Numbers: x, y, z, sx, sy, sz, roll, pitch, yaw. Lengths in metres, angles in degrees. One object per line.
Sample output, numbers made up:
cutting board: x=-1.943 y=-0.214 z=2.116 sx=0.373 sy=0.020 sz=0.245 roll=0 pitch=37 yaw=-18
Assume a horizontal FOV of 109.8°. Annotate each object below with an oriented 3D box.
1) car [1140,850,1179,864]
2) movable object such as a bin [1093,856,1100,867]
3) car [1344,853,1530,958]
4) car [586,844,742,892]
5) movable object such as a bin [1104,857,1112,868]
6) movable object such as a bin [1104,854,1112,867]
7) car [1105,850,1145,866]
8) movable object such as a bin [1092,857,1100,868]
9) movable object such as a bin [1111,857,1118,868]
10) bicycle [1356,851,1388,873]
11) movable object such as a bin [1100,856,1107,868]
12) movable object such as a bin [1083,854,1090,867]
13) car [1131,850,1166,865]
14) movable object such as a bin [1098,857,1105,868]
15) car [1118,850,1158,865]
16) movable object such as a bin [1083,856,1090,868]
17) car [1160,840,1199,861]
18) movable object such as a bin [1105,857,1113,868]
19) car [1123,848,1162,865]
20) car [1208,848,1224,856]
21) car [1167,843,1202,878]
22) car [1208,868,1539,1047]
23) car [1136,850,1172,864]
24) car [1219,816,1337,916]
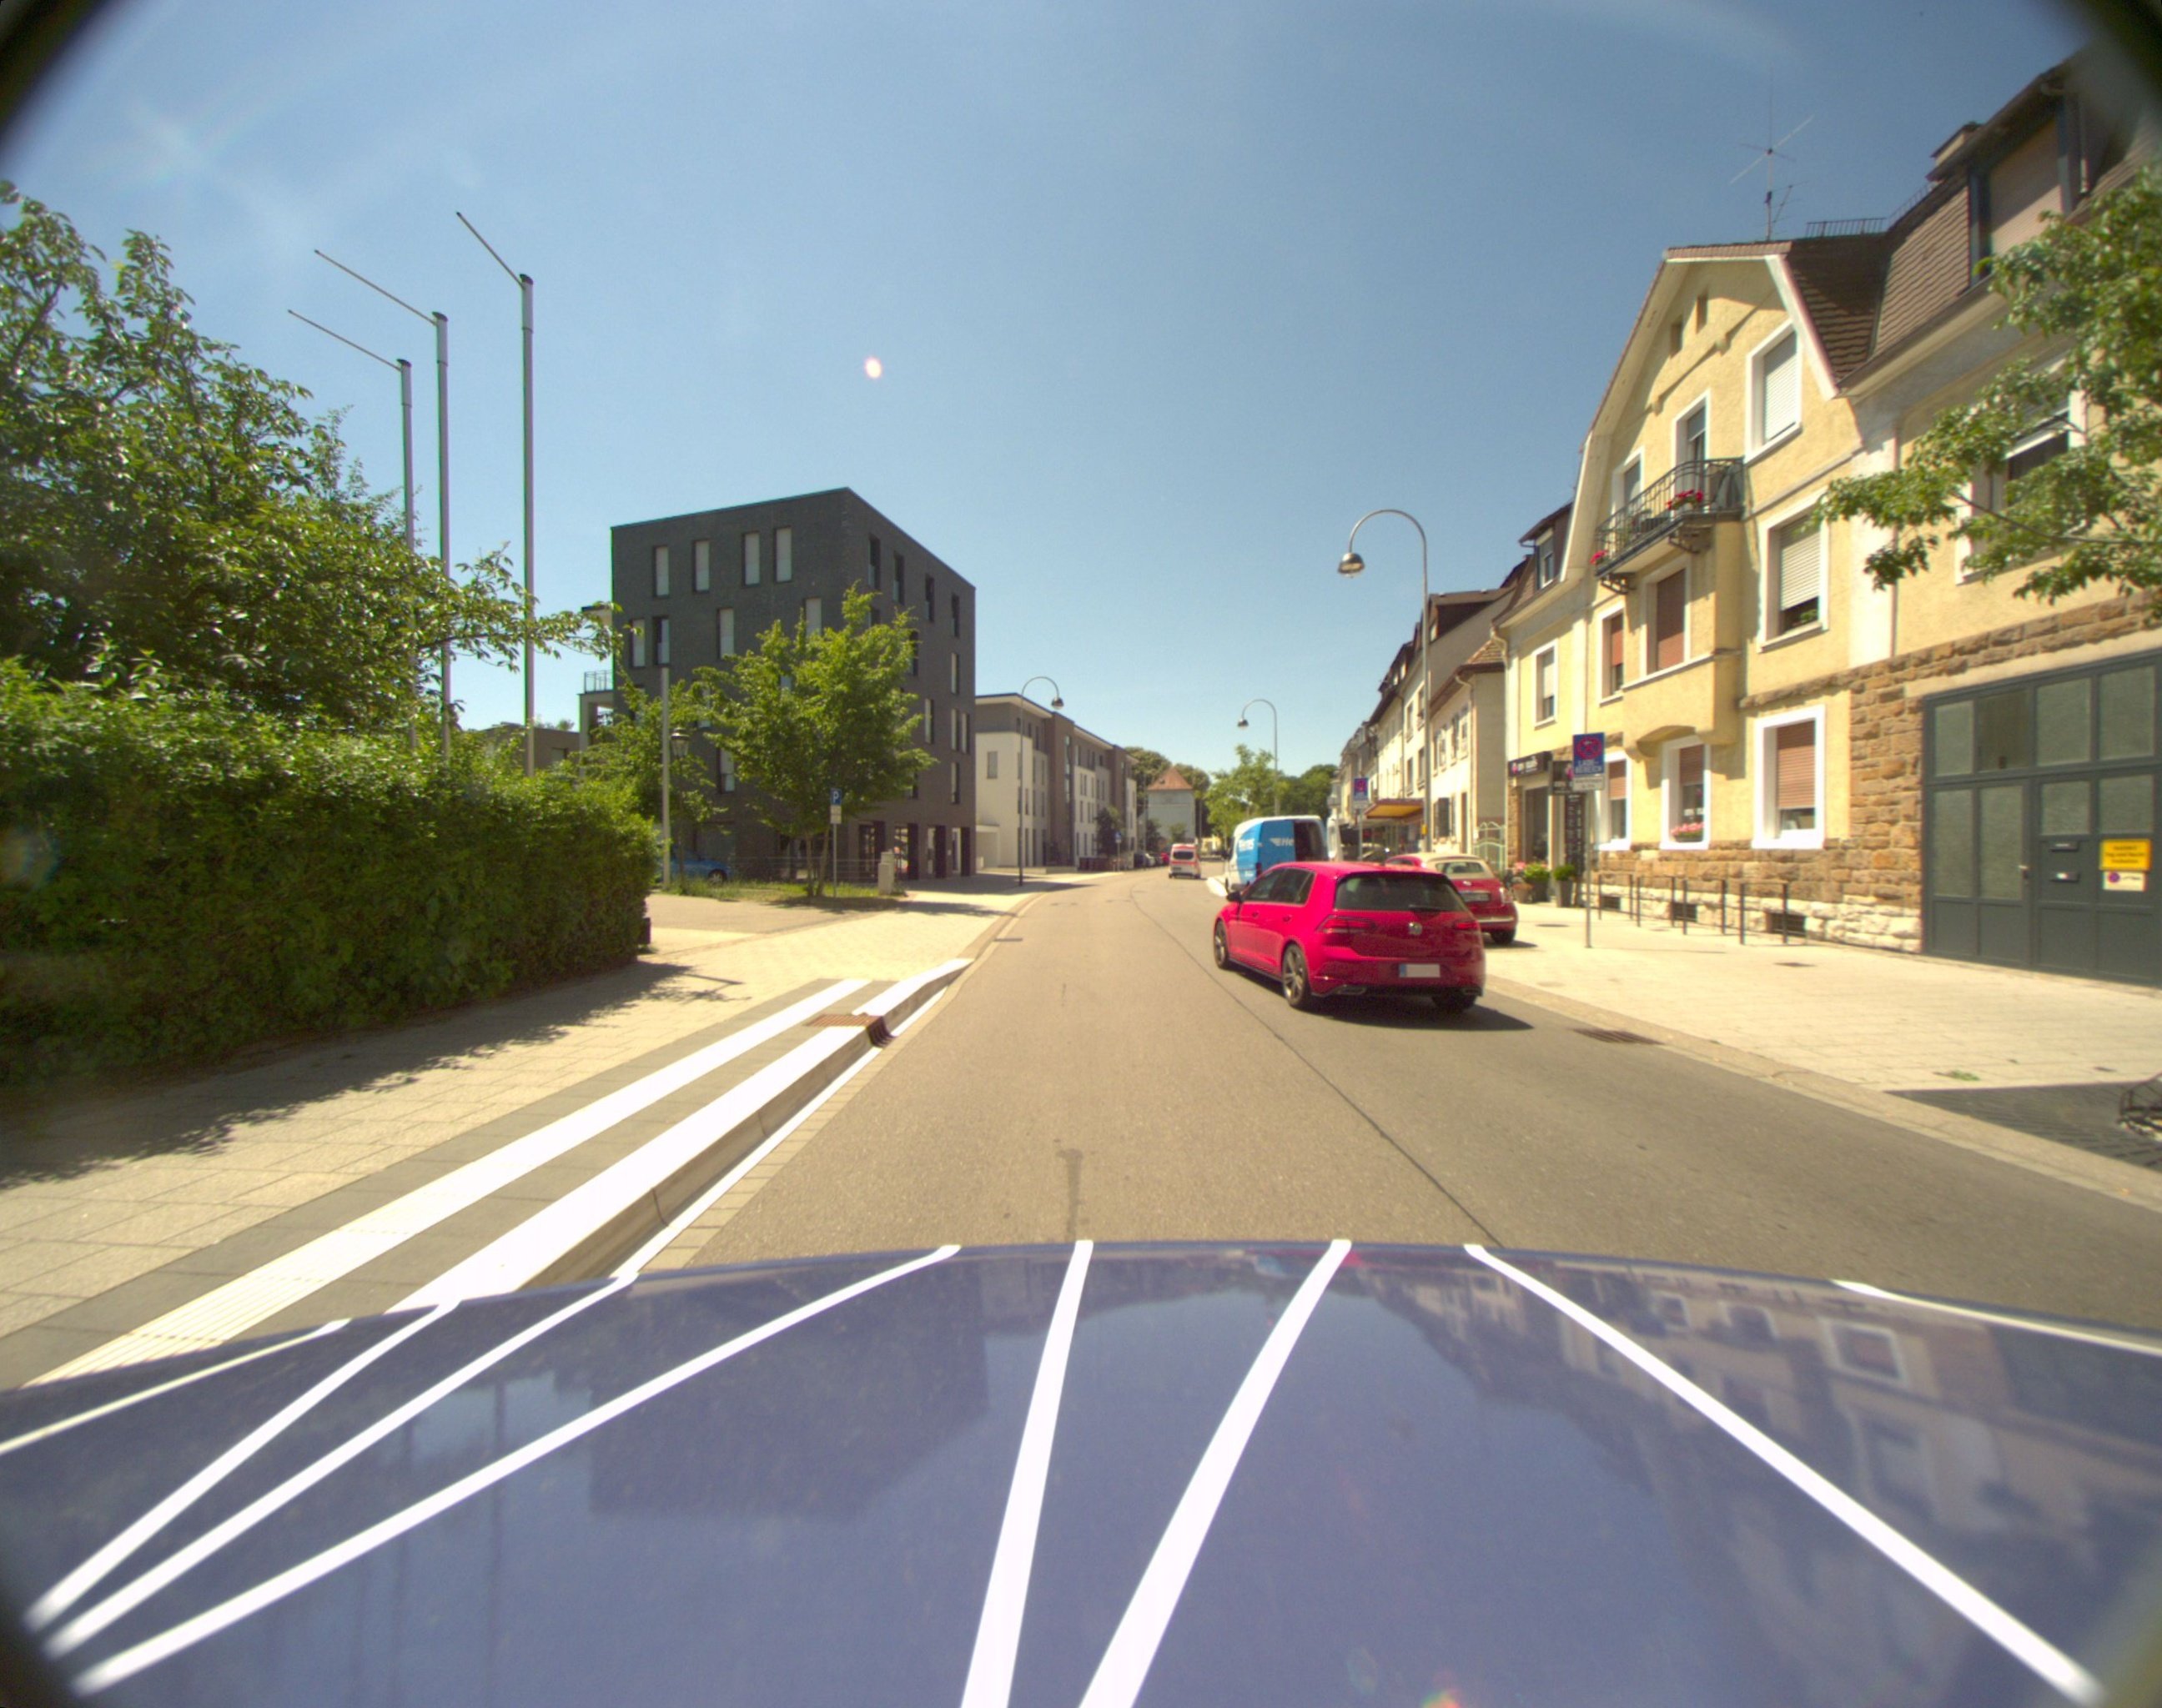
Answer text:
car: x=9.286 y=0.318 z=89.922 sx=4.353 sy=1.542 sz=1.653 roll=1 pitch=1 yaw=14
movable object such as a bin: x=1.309 y=0.649 z=64.261 sx=0.465 sy=0.925 sz=0.523 roll=2 pitch=2 yaw=17
car: x=6.075 y=0.792 z=13.412 sx=1.564 sy=1.512 sz=3.514 roll=-1 pitch=1 yaw=-1
car: x=-13.707 y=0.426 z=25.220 sx=1.812 sy=1.433 sz=4.181 roll=1 pitch=0 yaw=29
movable object such as a bin: x=2.236 y=0.700 z=63.361 sx=0.474 sy=0.925 sz=0.529 roll=2 pitch=2 yaw=17
movable object such as a bin: x=2.342 y=0.580 z=66.202 sx=0.569 sy=1.054 sz=0.561 roll=2 pitch=2 yaw=18
car: x=4.421 y=0.399 z=76.143 sx=3.660 sy=1.437 sz=1.537 roll=2 pitch=2 yaw=18
movable object such as a bin: x=1.241 y=0.686 z=63.657 sx=0.474 sy=0.925 sz=0.529 roll=2 pitch=2 yaw=17
movable object such as a bin: x=2.803 y=0.723 z=63.194 sx=0.474 sy=0.925 sz=0.529 roll=2 pitch=2 yaw=17
bicycle: x=18.022 y=0.492 z=47.076 sx=1.767 sy=1.227 sz=0.617 roll=-3 pitch=0 yaw=16
movable object such as a bin: x=1.868 y=0.669 z=64.089 sx=0.465 sy=0.925 sz=0.523 roll=2 pitch=2 yaw=17
movable object such as a bin: x=0.485 y=0.547 z=65.609 sx=0.570 sy=1.036 sz=0.560 roll=2 pitch=2 yaw=3
car: x=7.393 y=0.378 z=83.344 sx=3.612 sy=1.454 sz=1.618 roll=1 pitch=1 yaw=16
movable object such as a bin: x=1.731 y=0.693 z=63.508 sx=0.474 sy=0.925 sz=0.529 roll=2 pitch=2 yaw=17
car: x=5.897 y=0.371 z=78.269 sx=3.813 sy=1.474 sz=1.780 roll=1 pitch=1 yaw=15
movable object such as a bin: x=0.484 y=0.676 z=63.875 sx=0.474 sy=0.925 sz=0.529 roll=2 pitch=2 yaw=17
car: x=12.929 y=-0.458 z=99.665 sx=4.860 sy=2.720 sz=1.853 roll=1 pitch=1 yaw=17
movable object such as a bin: x=2.366 y=0.686 z=63.942 sx=0.465 sy=0.925 sz=0.523 roll=2 pitch=2 yaw=17
car: x=6.557 y=0.241 z=80.685 sx=3.813 sy=1.776 sz=1.842 roll=1 pitch=1 yaw=15
car: x=25.846 y=-0.466 z=145.490 sx=1.622 sy=1.445 sz=3.859 roll=1 pitch=1 yaw=-10
car: x=7.340 y=0.432 z=53.534 sx=2.160 sy=2.348 sz=5.252 roll=1 pitch=0 yaw=10
car: x=2.856 y=0.935 z=8.517 sx=1.921 sy=1.418 sz=3.978 roll=2 pitch=0 yaw=-4
car: x=8.265 y=0.341 z=85.716 sx=3.813 sy=1.454 sz=1.654 roll=1 pitch=1 yaw=16
car: x=5.504 y=0.298 z=22.043 sx=2.097 sy=2.483 sz=5.503 roll=-2 pitch=0 yaw=2
